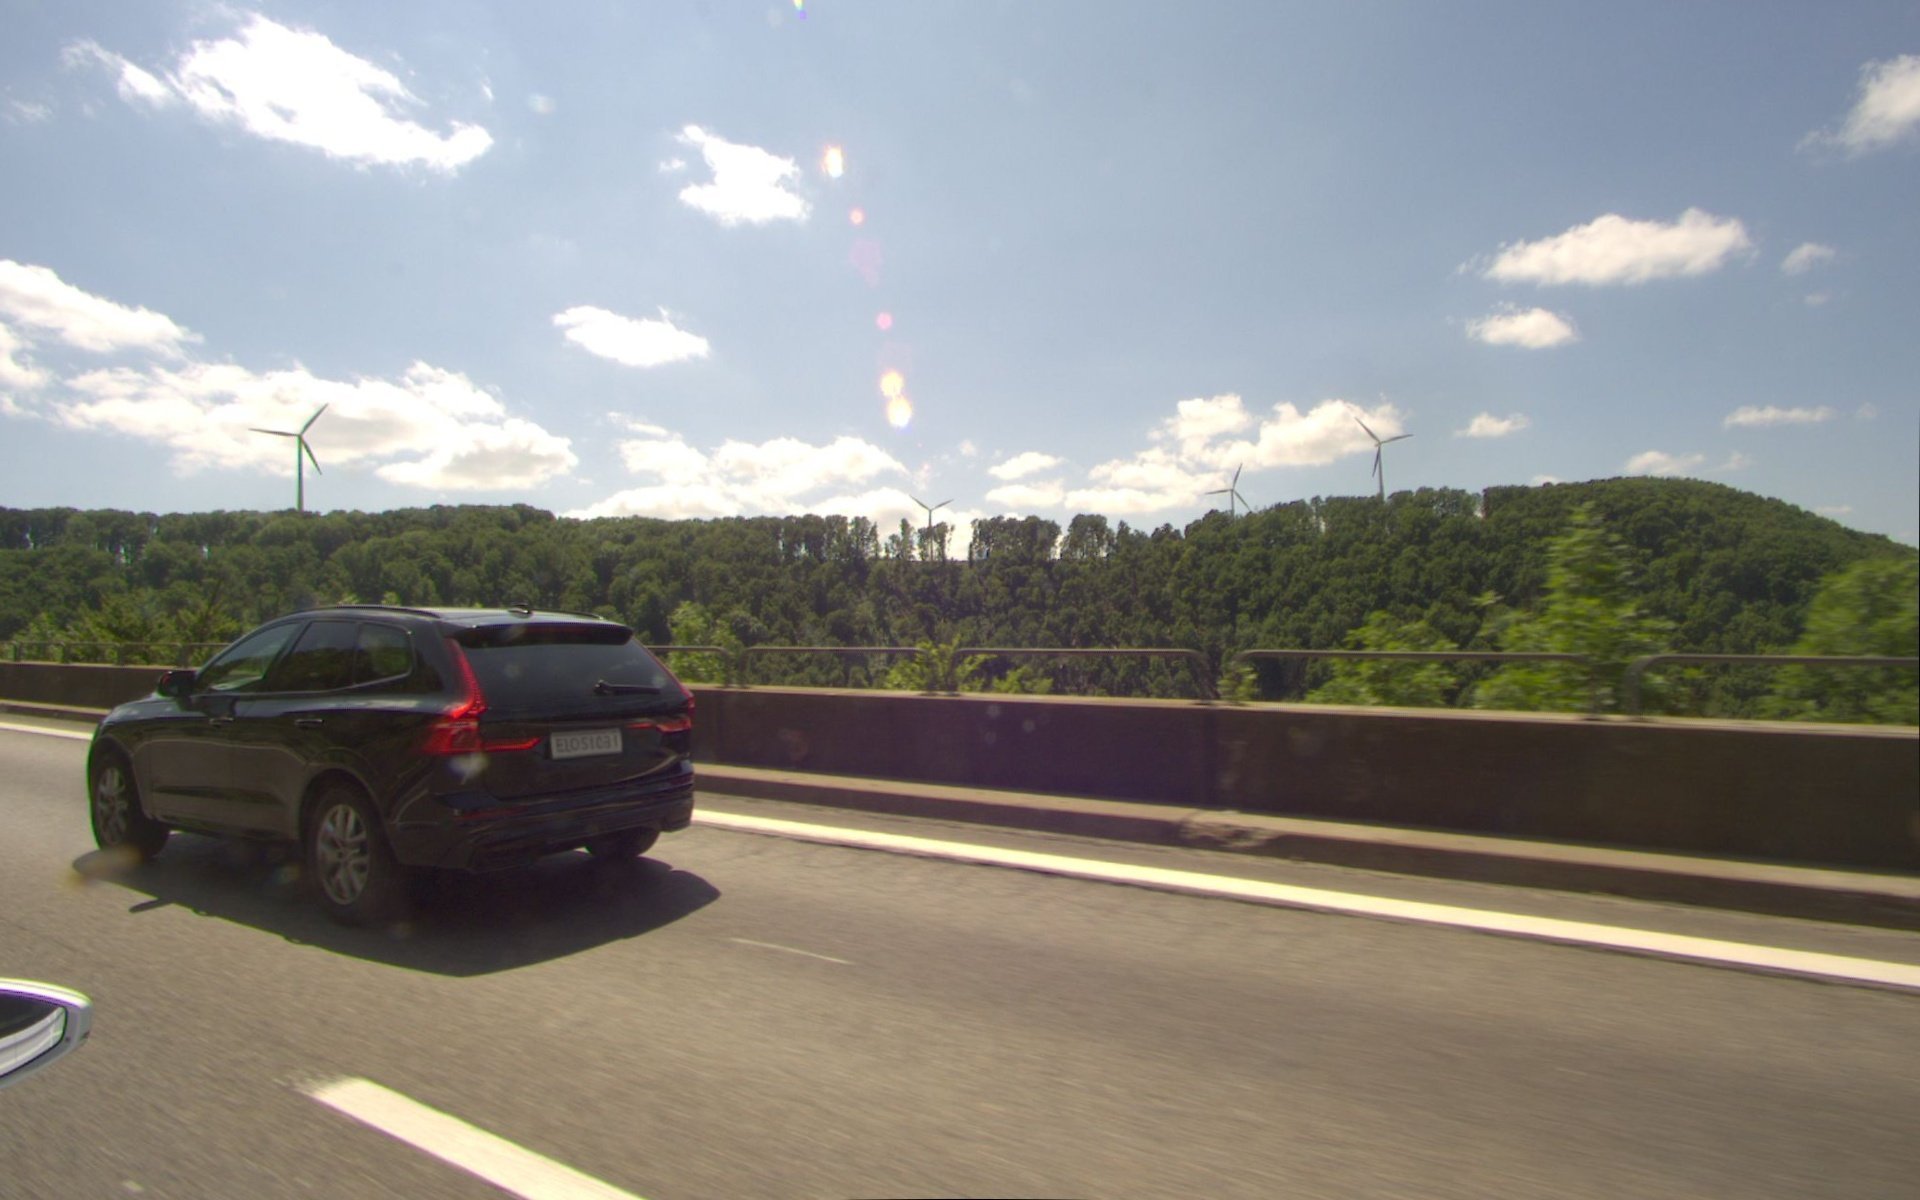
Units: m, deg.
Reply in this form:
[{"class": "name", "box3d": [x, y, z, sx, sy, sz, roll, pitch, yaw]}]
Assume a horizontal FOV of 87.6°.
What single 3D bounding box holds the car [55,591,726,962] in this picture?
[{"class": "car", "box3d": [-3.828, 0.837, 6.474, 4.595, 1.654, 1.831, -1, -1, 32]}]
